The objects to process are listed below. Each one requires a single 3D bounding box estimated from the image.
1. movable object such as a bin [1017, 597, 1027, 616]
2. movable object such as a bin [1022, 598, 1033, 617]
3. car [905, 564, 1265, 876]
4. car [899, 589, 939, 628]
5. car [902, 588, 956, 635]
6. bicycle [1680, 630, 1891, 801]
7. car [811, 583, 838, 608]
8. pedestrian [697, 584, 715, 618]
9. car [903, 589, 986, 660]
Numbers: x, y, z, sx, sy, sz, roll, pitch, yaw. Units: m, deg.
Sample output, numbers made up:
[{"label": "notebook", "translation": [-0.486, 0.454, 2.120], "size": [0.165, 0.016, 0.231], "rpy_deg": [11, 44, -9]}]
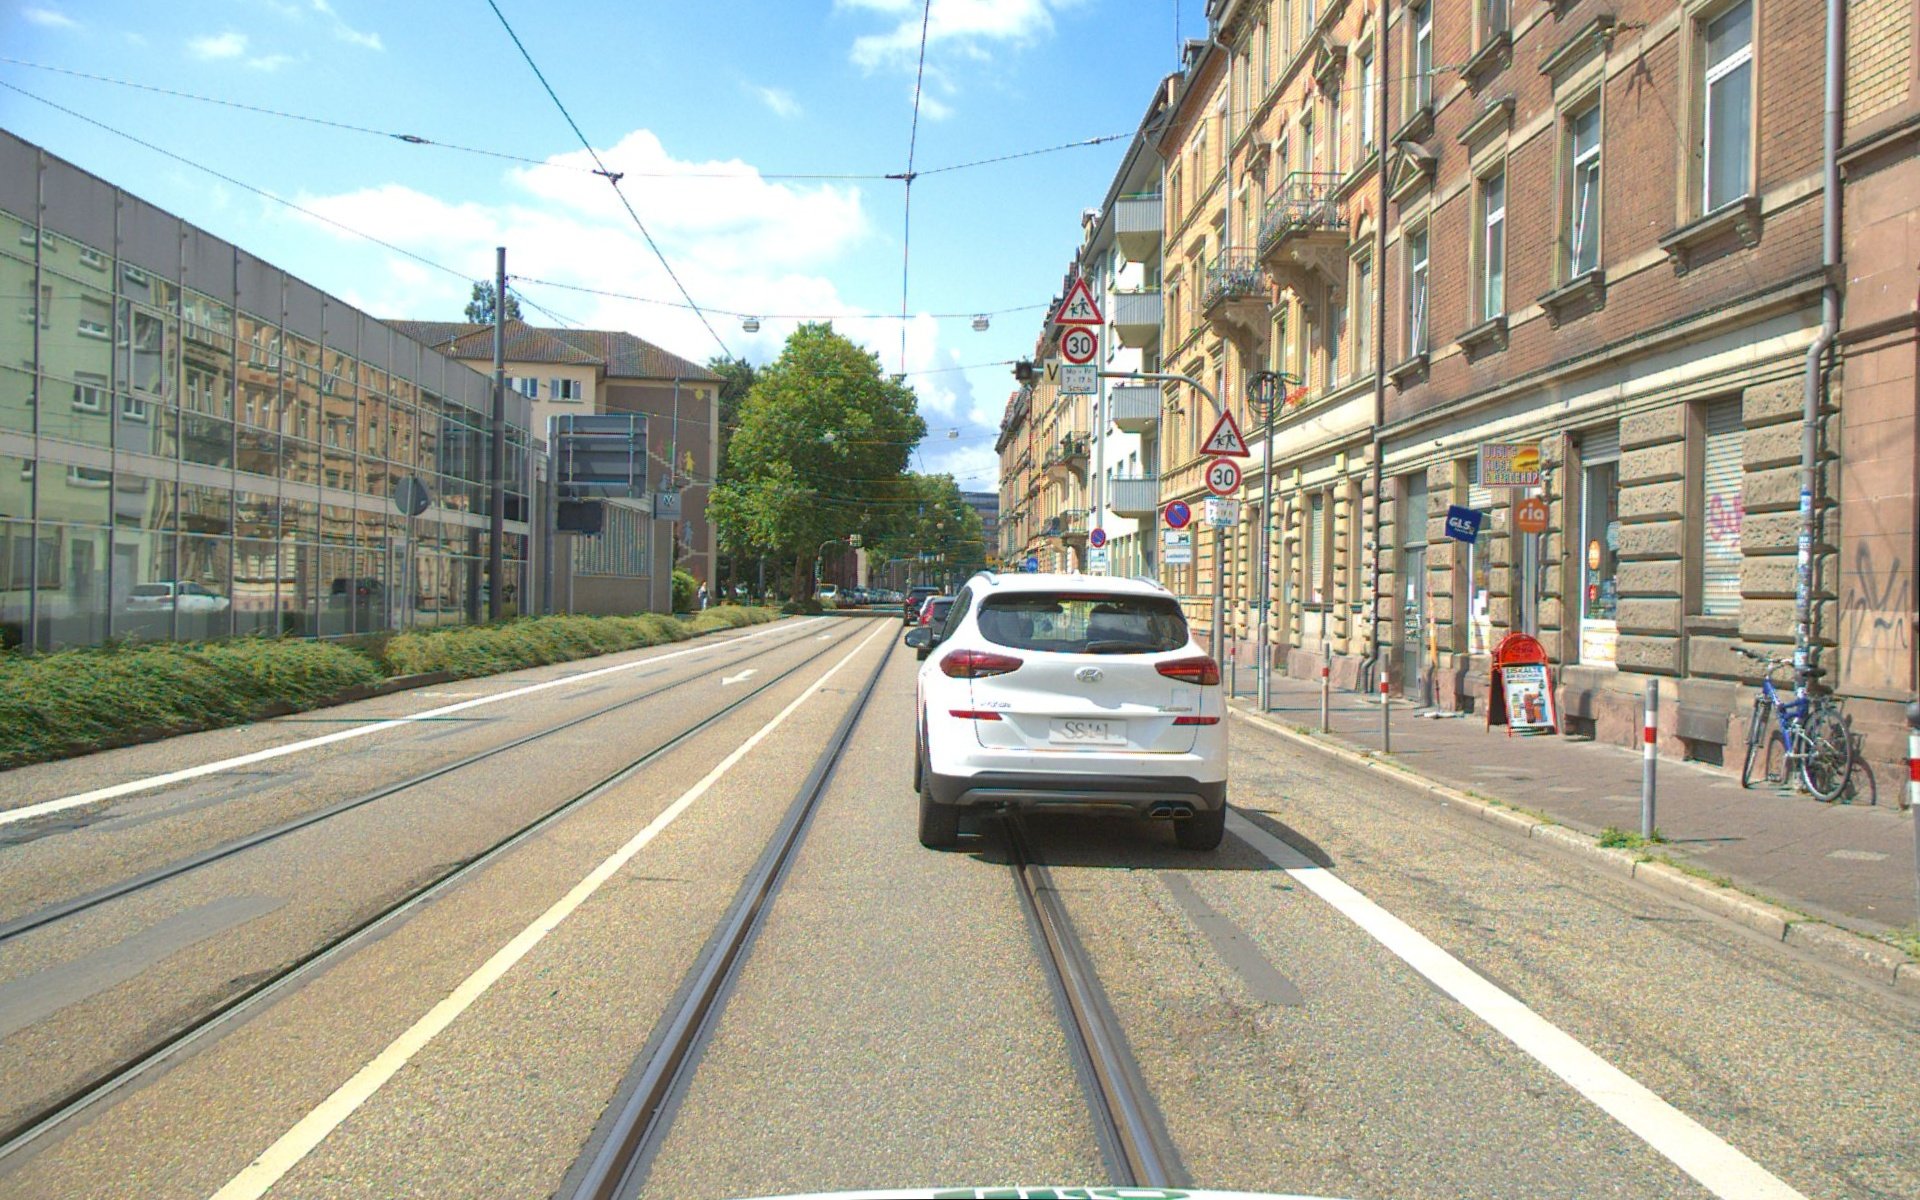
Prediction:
[{"label": "movable object such as a bin", "translation": [3.882, 0.380, 103.411], "size": [0.600, 1.163, 0.638], "rpy_deg": [2, 0, -1]}, {"label": "movable object such as a bin", "translation": [4.171, 0.483, 101.988], "size": [0.600, 1.163, 0.638], "rpy_deg": [2, 0, -1]}, {"label": "car", "translation": [0.629, 0.653, 11.196], "size": [1.815, 1.662, 4.177], "rpy_deg": [2, 0, -4]}, {"label": "car", "translation": [-1.880, 0.382, 75.907], "size": [1.778, 1.691, 4.084], "rpy_deg": [1, 0, -1]}, {"label": "car", "translation": [-1.057, 0.372, 56.720], "size": [1.778, 1.551, 3.954], "rpy_deg": [0, 0, -1]}, {"label": "bicycle", "translation": [6.559, 0.869, 13.276], "size": [0.574, 1.199, 2.204], "rpy_deg": [0, 0, 0]}, {"label": "car", "translation": [-11.267, -0.389, 137.626], "size": [1.911, 1.928, 4.564], "rpy_deg": [2, 0, -2]}, {"label": "pedestrian", "translation": [-14.024, 0.062, 91.382], "size": [0.862, 1.898, 1.080], "rpy_deg": [0, 0, -1]}, {"label": "car", "translation": [-0.312, 0.538, 38.890], "size": [1.777, 1.551, 4.086], "rpy_deg": [1, 0, 2]}]
